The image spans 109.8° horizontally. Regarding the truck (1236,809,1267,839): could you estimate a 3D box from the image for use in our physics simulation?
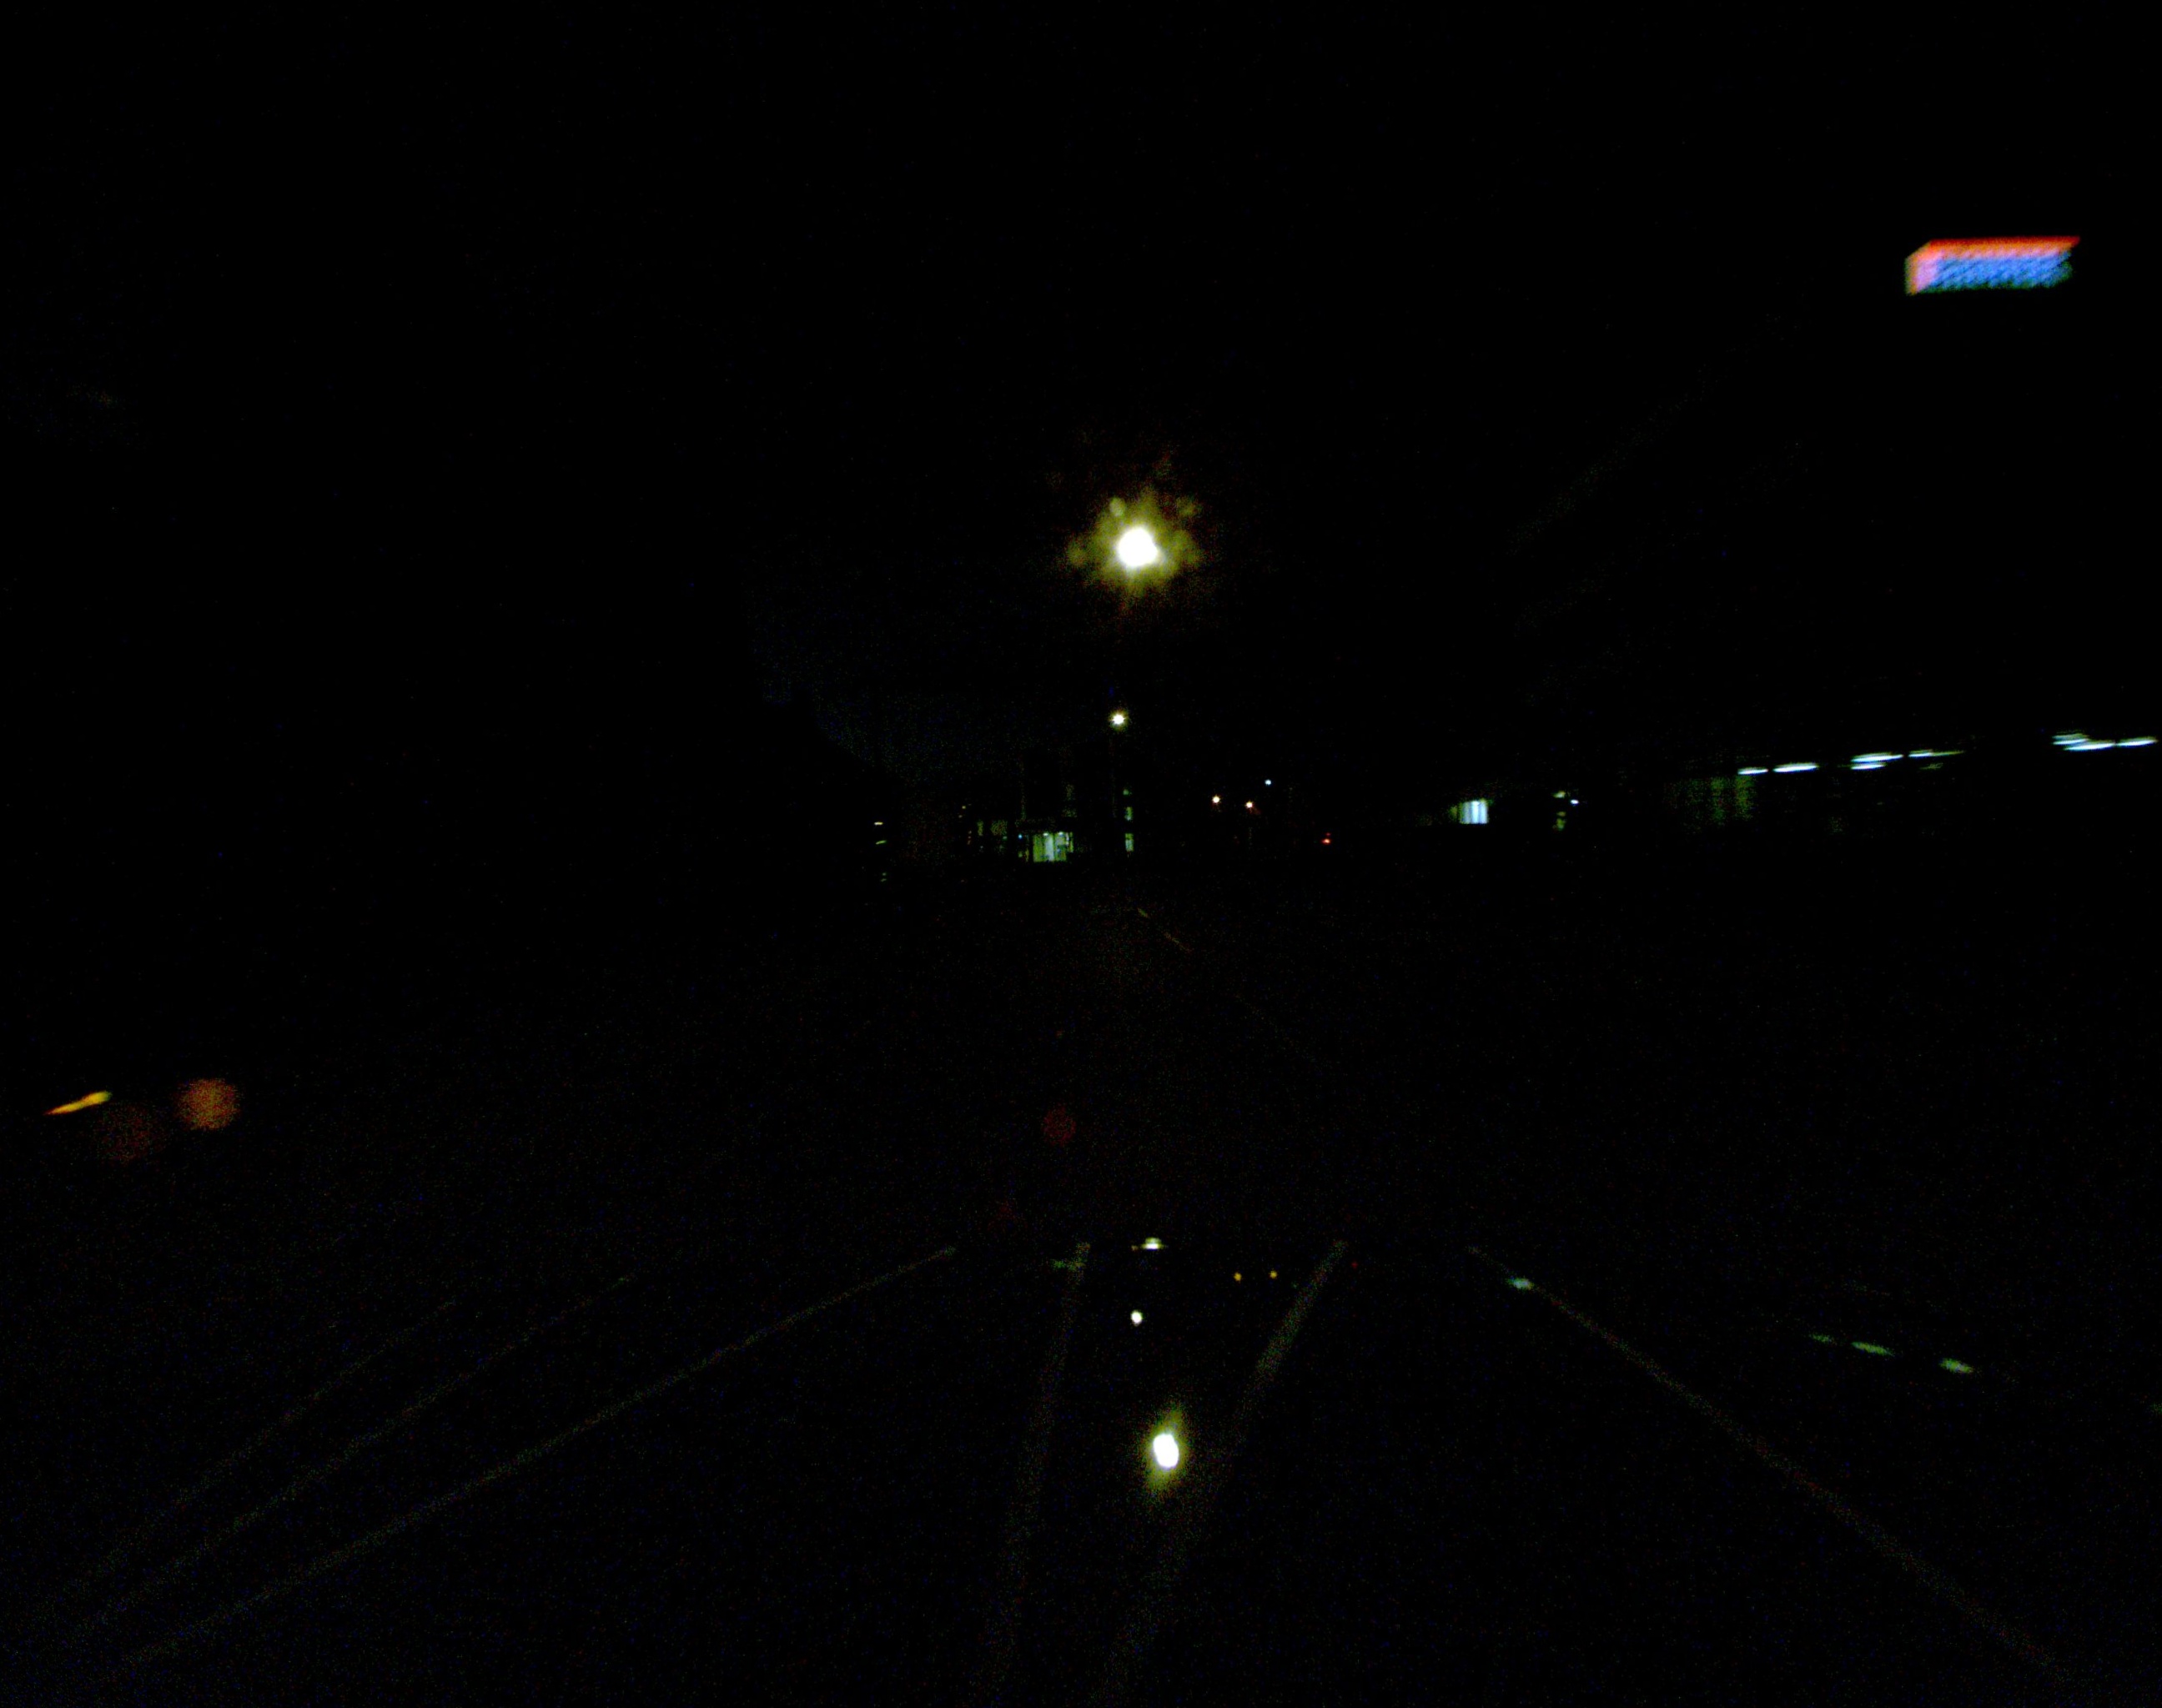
[{"bbox_3d":[24.195,-4.232,107.480,2.749,4.011,9.571,-3,1,21],"label":"truck"}]

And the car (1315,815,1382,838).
[{"bbox_3d":[20.107,-2.060,57.292,4.413,1.474,1.893,-4,1,6],"label":"car"}]

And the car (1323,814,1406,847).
[{"bbox_3d":[18.455,-1.529,49.649,4.617,1.805,1.963,-4,1,6],"label":"car"}]

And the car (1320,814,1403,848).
[{"bbox_3d":[17.404,-1.427,47.283,4.413,1.805,1.963,-3,1,6],"label":"car"}]

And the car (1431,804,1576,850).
[{"bbox_3d":[16.366,-1.024,29.650,4.457,1.444,2.062,-4,1,9],"label":"car"}]

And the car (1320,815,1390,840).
[{"bbox_3d":[19.769,-1.914,55.008,4.413,1.444,1.828,-4,1,6],"label":"car"}]

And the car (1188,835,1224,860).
[{"bbox_3d":[7.725,-0.441,47.322,1.818,1.363,4.361,-3,1,5],"label":"car"}]

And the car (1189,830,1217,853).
[{"bbox_3d":[9.527,-0.993,59.200,1.869,1.584,4.497,-3,1,12],"label":"car"}]

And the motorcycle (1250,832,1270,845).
[{"bbox_3d":[16.640,-1.450,70.587,1.693,1.095,0.531,-7,3,-16],"label":"motorcycle"}]

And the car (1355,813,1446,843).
[{"bbox_3d":[17.765,-1.430,42.375,4.275,1.386,1.828,-4,1,6],"label":"car"}]

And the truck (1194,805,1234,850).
[{"bbox_3d":[13.367,-2.605,75.737,2.776,4.097,9.349,-3,1,16],"label":"truck"}]

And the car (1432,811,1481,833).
[{"bbox_3d":[28.404,-2.380,57.668,1.906,1.449,4.466,-5,1,8],"label":"car"}]

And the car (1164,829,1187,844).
[{"bbox_3d":[13.632,-2.558,109.261,1.995,2.002,4.918,-2,1,23],"label":"car"}]

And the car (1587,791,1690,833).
[{"bbox_3d":[25.828,-1.889,35.411,1.998,1.632,4.204,-4,1,7],"label":"car"}]

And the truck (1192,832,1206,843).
[{"bbox_3d":[19.052,-2.622,122.926,1.371,1.635,3.817,-3,1,22],"label":"truck"}]

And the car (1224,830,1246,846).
[{"bbox_3d":[18.258,-1.871,89.929,1.946,1.708,5.204,-3,1,19],"label":"car"}]

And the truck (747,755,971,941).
[{"bbox_3d":[-5.422,-0.221,21.159,2.762,3.762,10.224,-3,1,2],"label":"truck"}]

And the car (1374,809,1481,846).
[{"bbox_3d":[16.967,-1.291,37.383,4.413,1.470,1.851,-4,1,6],"label":"car"}]

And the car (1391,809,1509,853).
[{"bbox_3d":[16.802,-1.052,34.790,4.414,1.671,1.963,-4,1,4],"label":"car"}]

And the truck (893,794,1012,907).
[{"bbox_3d":[-4.881,-0.210,30.942,2.762,3.762,9.136,-3,1,2],"label":"truck"}]

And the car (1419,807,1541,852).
[{"bbox_3d":[16.885,-1.029,32.311,4.140,1.570,1.842,-4,1,6],"label":"car"}]

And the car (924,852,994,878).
[{"bbox_3d":[-8.141,0.717,50.918,4.336,1.637,1.892,-2,1,1],"label":"car"}]
